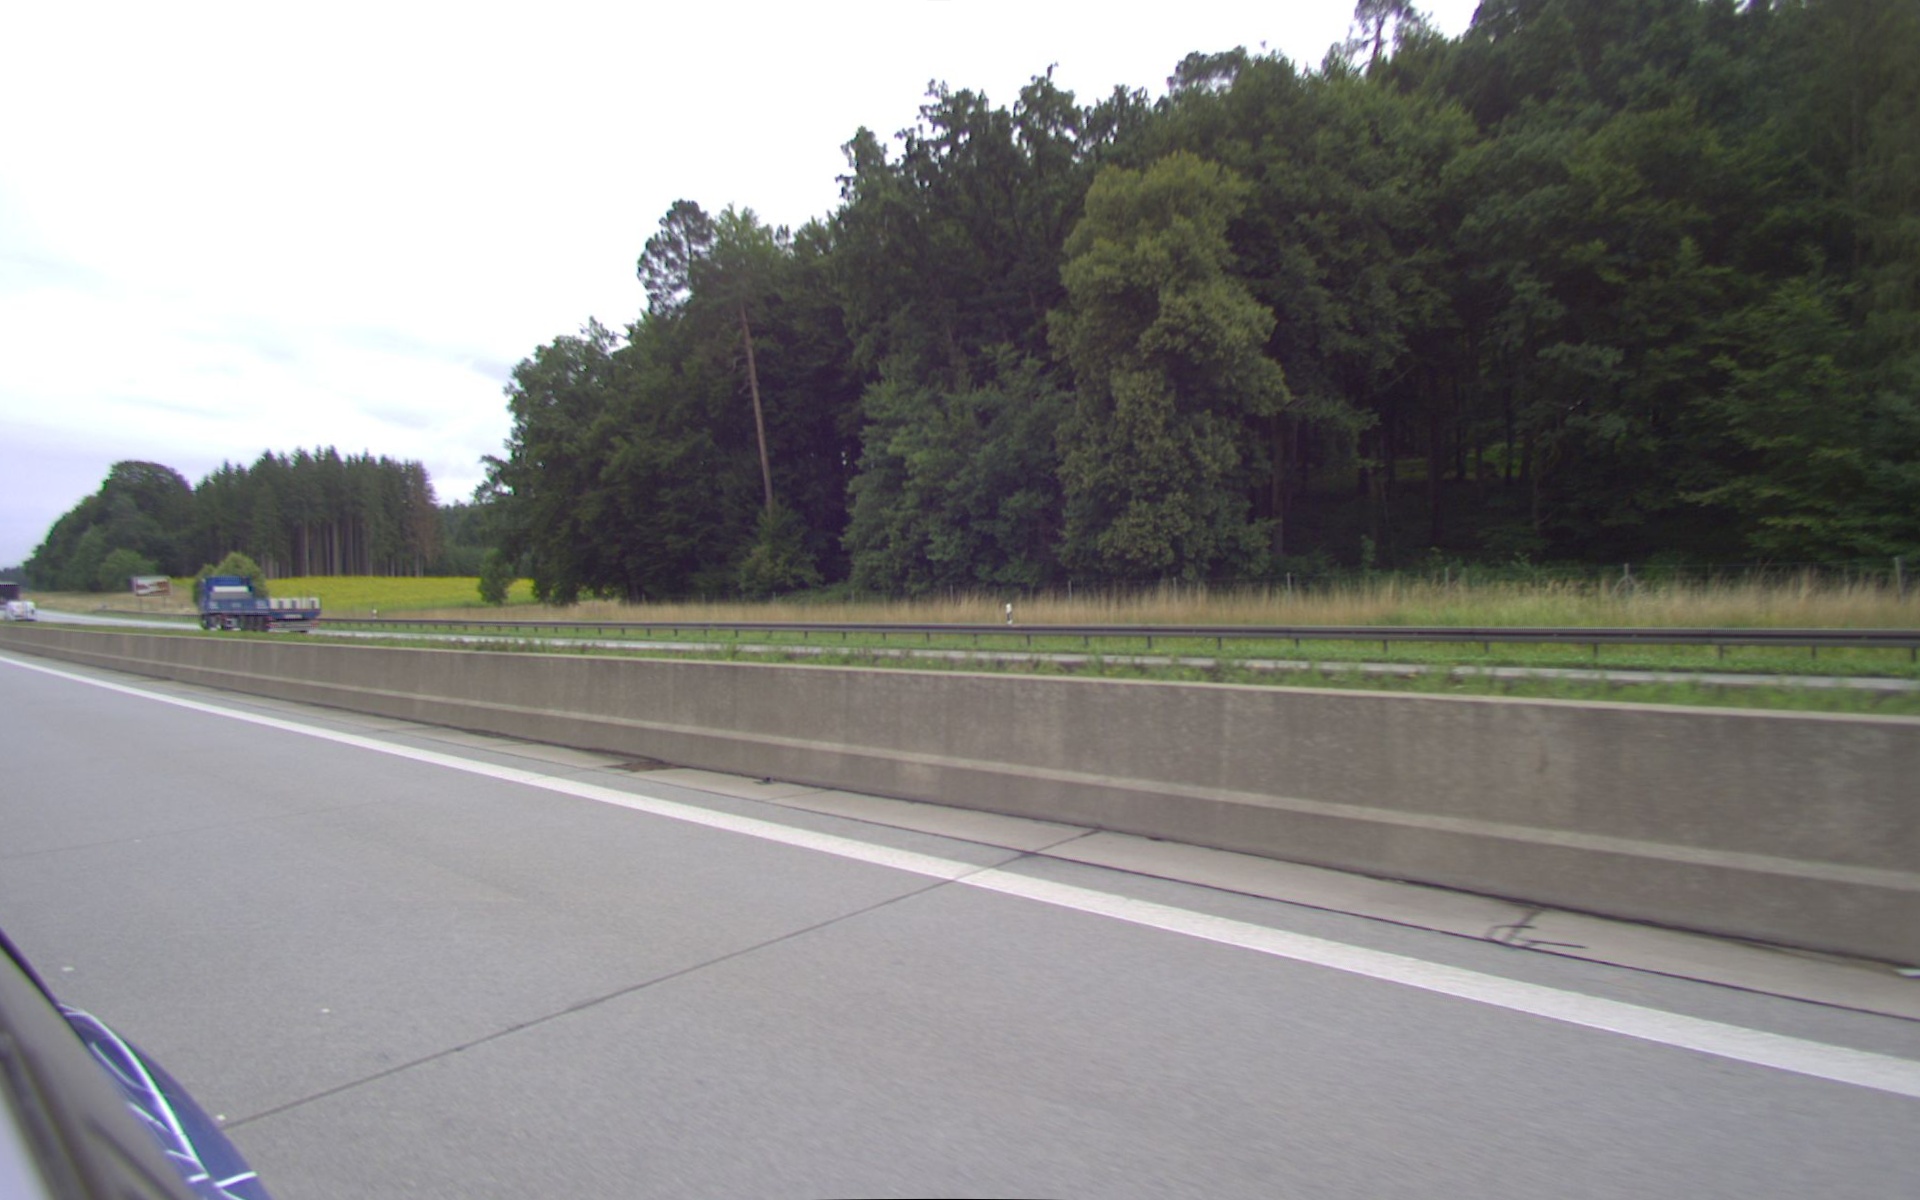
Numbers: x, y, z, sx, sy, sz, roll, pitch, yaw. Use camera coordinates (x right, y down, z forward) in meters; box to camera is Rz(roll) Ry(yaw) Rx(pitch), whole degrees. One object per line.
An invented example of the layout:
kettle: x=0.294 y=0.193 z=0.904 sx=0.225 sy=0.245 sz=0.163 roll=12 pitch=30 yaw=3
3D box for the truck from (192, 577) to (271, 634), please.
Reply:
truck: x=-47.719 y=0.343 z=66.213 sx=6.637 sy=3.543 sz=2.728 roll=0 pitch=1 yaw=41

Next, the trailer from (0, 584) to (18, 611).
trailer: x=-151.466 y=-0.311 z=159.444 sx=14.126 sy=4.083 sz=3.201 roll=0 pitch=1 yaw=42

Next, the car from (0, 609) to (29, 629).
car: x=-88.488 y=1.792 z=94.225 sx=5.494 sy=1.815 sz=2.066 roll=-1 pitch=0 yaw=41

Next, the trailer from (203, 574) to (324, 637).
trailer: x=-42.872 y=0.322 z=61.955 sx=13.878 sy=3.534 sz=2.756 roll=0 pitch=1 yaw=41
